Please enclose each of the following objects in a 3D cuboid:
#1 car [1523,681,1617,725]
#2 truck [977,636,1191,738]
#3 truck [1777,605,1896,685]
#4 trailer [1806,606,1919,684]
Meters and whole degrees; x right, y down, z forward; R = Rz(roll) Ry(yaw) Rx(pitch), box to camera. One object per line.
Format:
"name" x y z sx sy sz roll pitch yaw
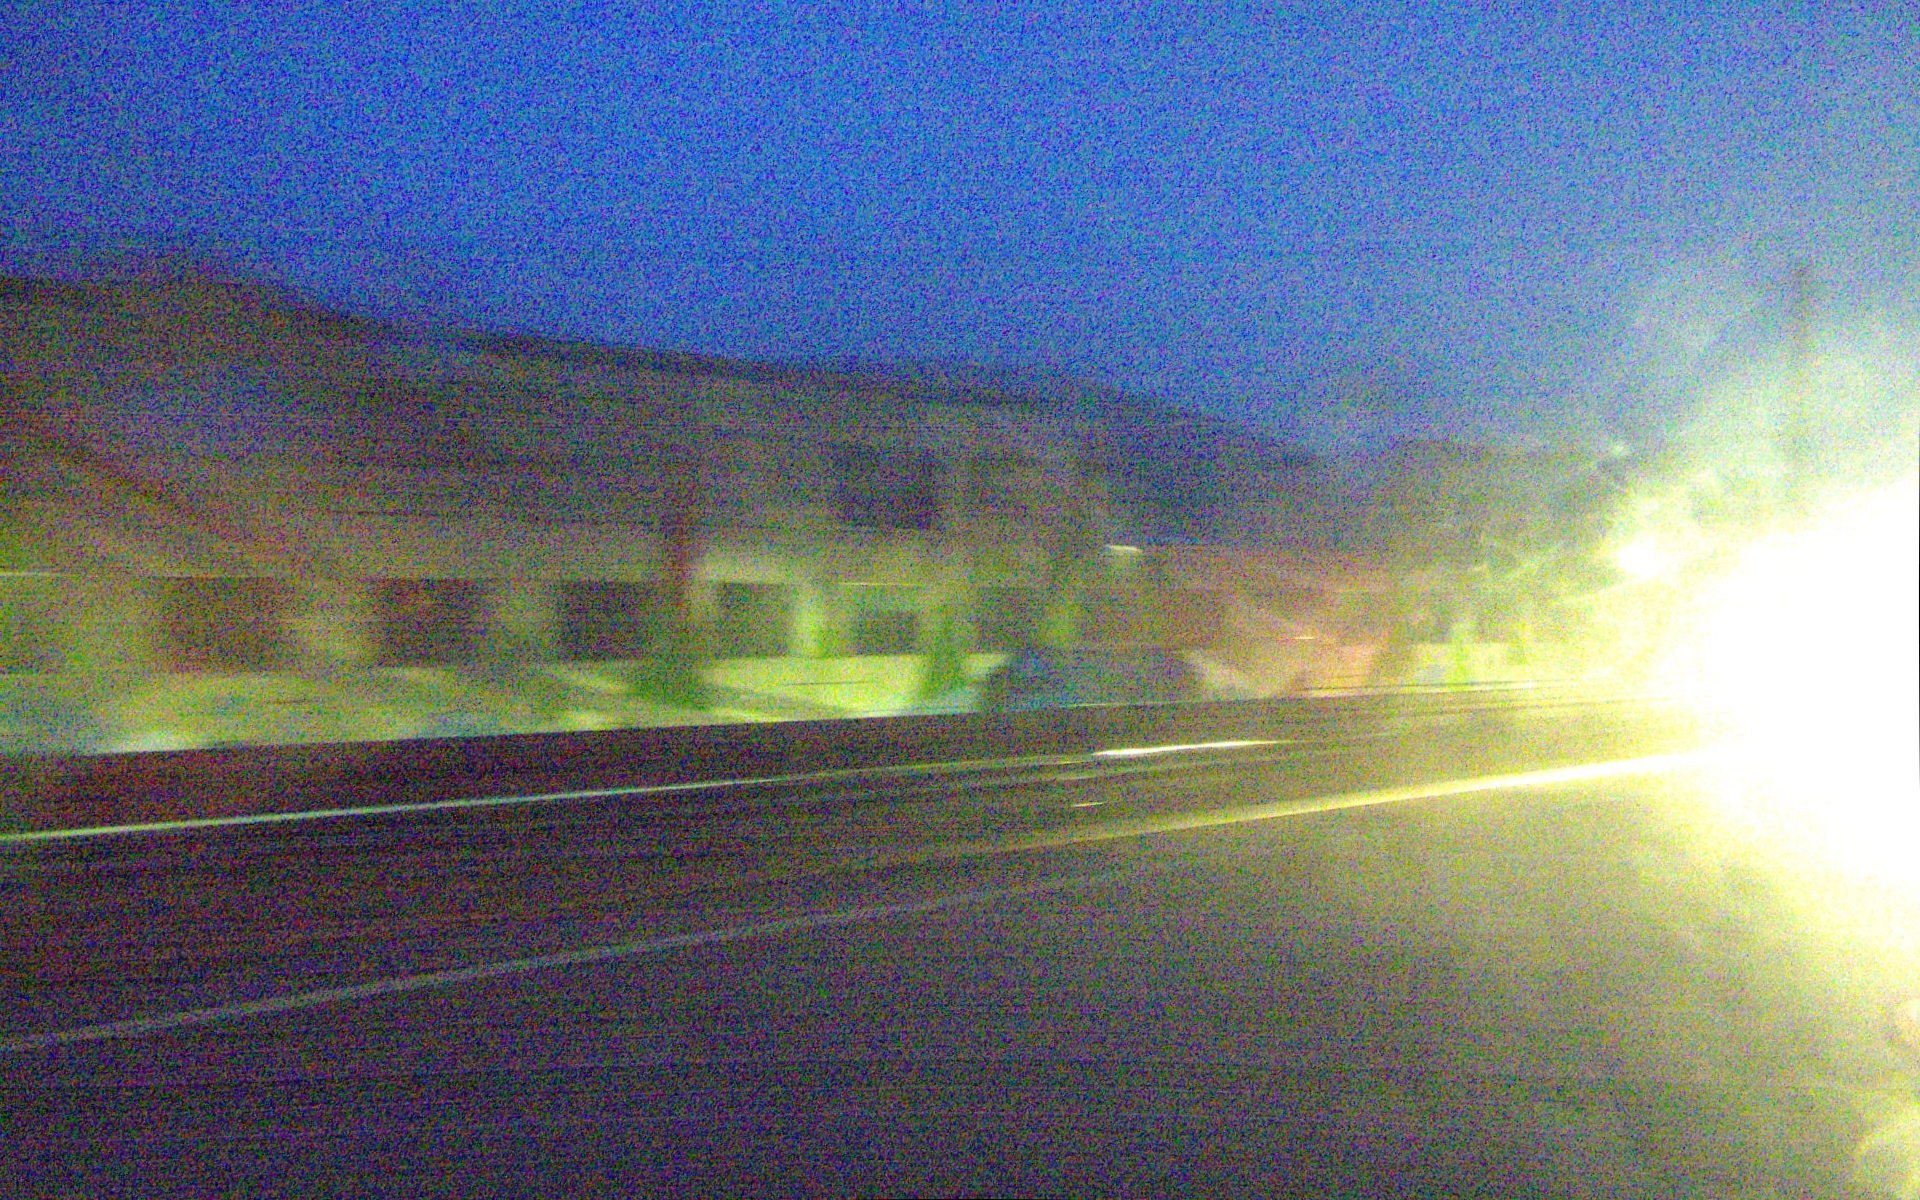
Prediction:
"car" 27.348 4.563 44.991 4.243 1.698 1.799 2 0 -30
"truck" 4.822 3.216 38.721 7.999 3.529 2.746 1 0 -27
"truck" 56.685 2.866 64.965 7.225 4.860 3.315 2 0 -27
"trailer" 61.774 3.015 67.537 11.407 4.860 3.315 2 0 -27
